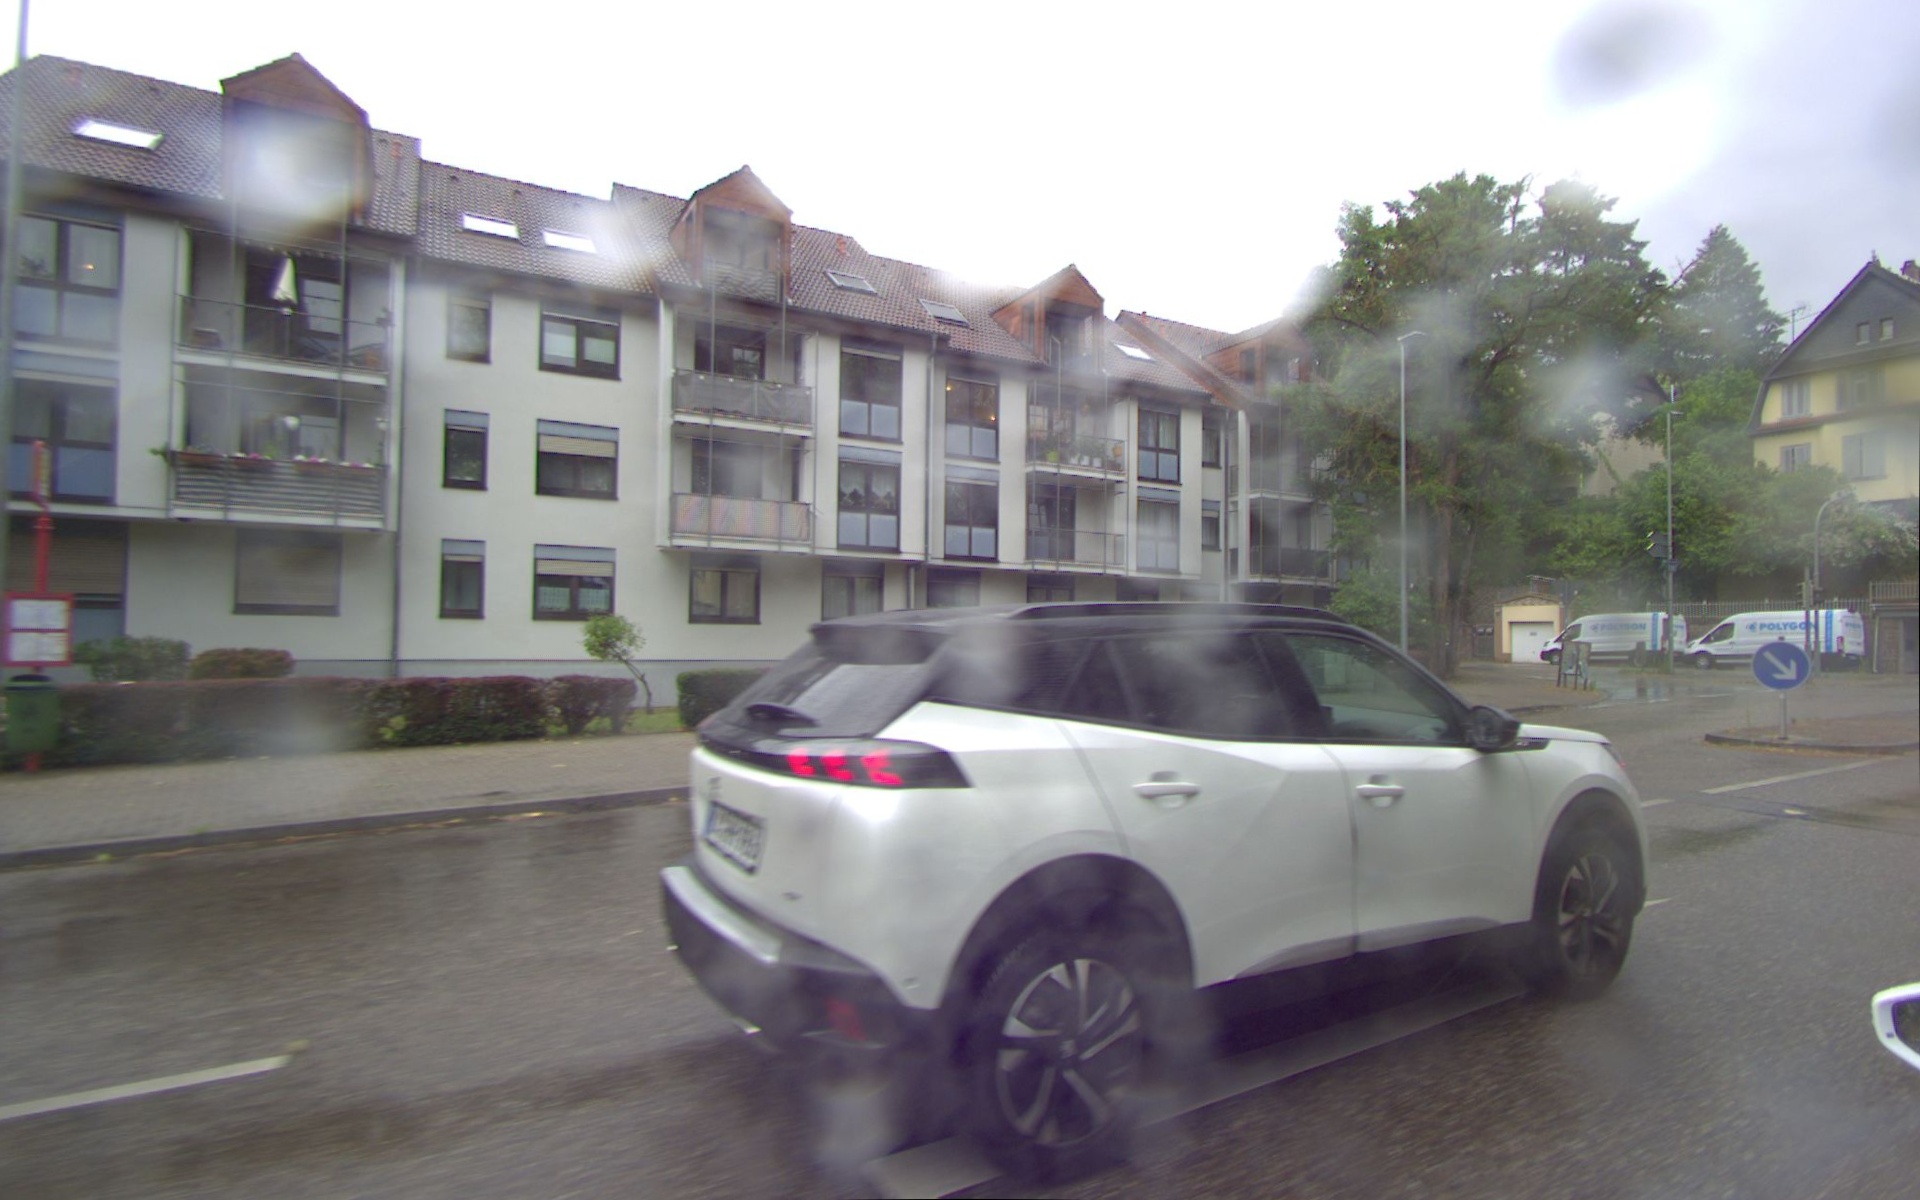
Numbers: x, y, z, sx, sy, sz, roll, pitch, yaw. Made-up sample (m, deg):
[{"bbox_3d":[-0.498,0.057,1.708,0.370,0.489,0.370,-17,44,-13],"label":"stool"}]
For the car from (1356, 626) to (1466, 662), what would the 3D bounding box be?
[{"bbox_3d":[25.276,2.418,56.538,2.084,1.878,5.540,2,-2,-28],"label":"car"}]

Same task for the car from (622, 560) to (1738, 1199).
[{"bbox_3d":[1.059,0.758,3.999,4.317,1.556,1.744,1,-3,-31],"label":"car"}]

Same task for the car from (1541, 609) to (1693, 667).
[{"bbox_3d":[30.497,1.741,46.824,2.287,2.527,5.540,2,-2,-28],"label":"car"}]

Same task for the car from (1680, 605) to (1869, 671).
[{"bbox_3d":[33.324,1.524,41.303,2.287,2.527,5.637,2,-2,-28],"label":"car"}]

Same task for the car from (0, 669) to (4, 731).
[{"bbox_3d":[-19.983,1.998,19.198,1.706,1.504,3.534,2,-8,-31],"label":"car"}]
